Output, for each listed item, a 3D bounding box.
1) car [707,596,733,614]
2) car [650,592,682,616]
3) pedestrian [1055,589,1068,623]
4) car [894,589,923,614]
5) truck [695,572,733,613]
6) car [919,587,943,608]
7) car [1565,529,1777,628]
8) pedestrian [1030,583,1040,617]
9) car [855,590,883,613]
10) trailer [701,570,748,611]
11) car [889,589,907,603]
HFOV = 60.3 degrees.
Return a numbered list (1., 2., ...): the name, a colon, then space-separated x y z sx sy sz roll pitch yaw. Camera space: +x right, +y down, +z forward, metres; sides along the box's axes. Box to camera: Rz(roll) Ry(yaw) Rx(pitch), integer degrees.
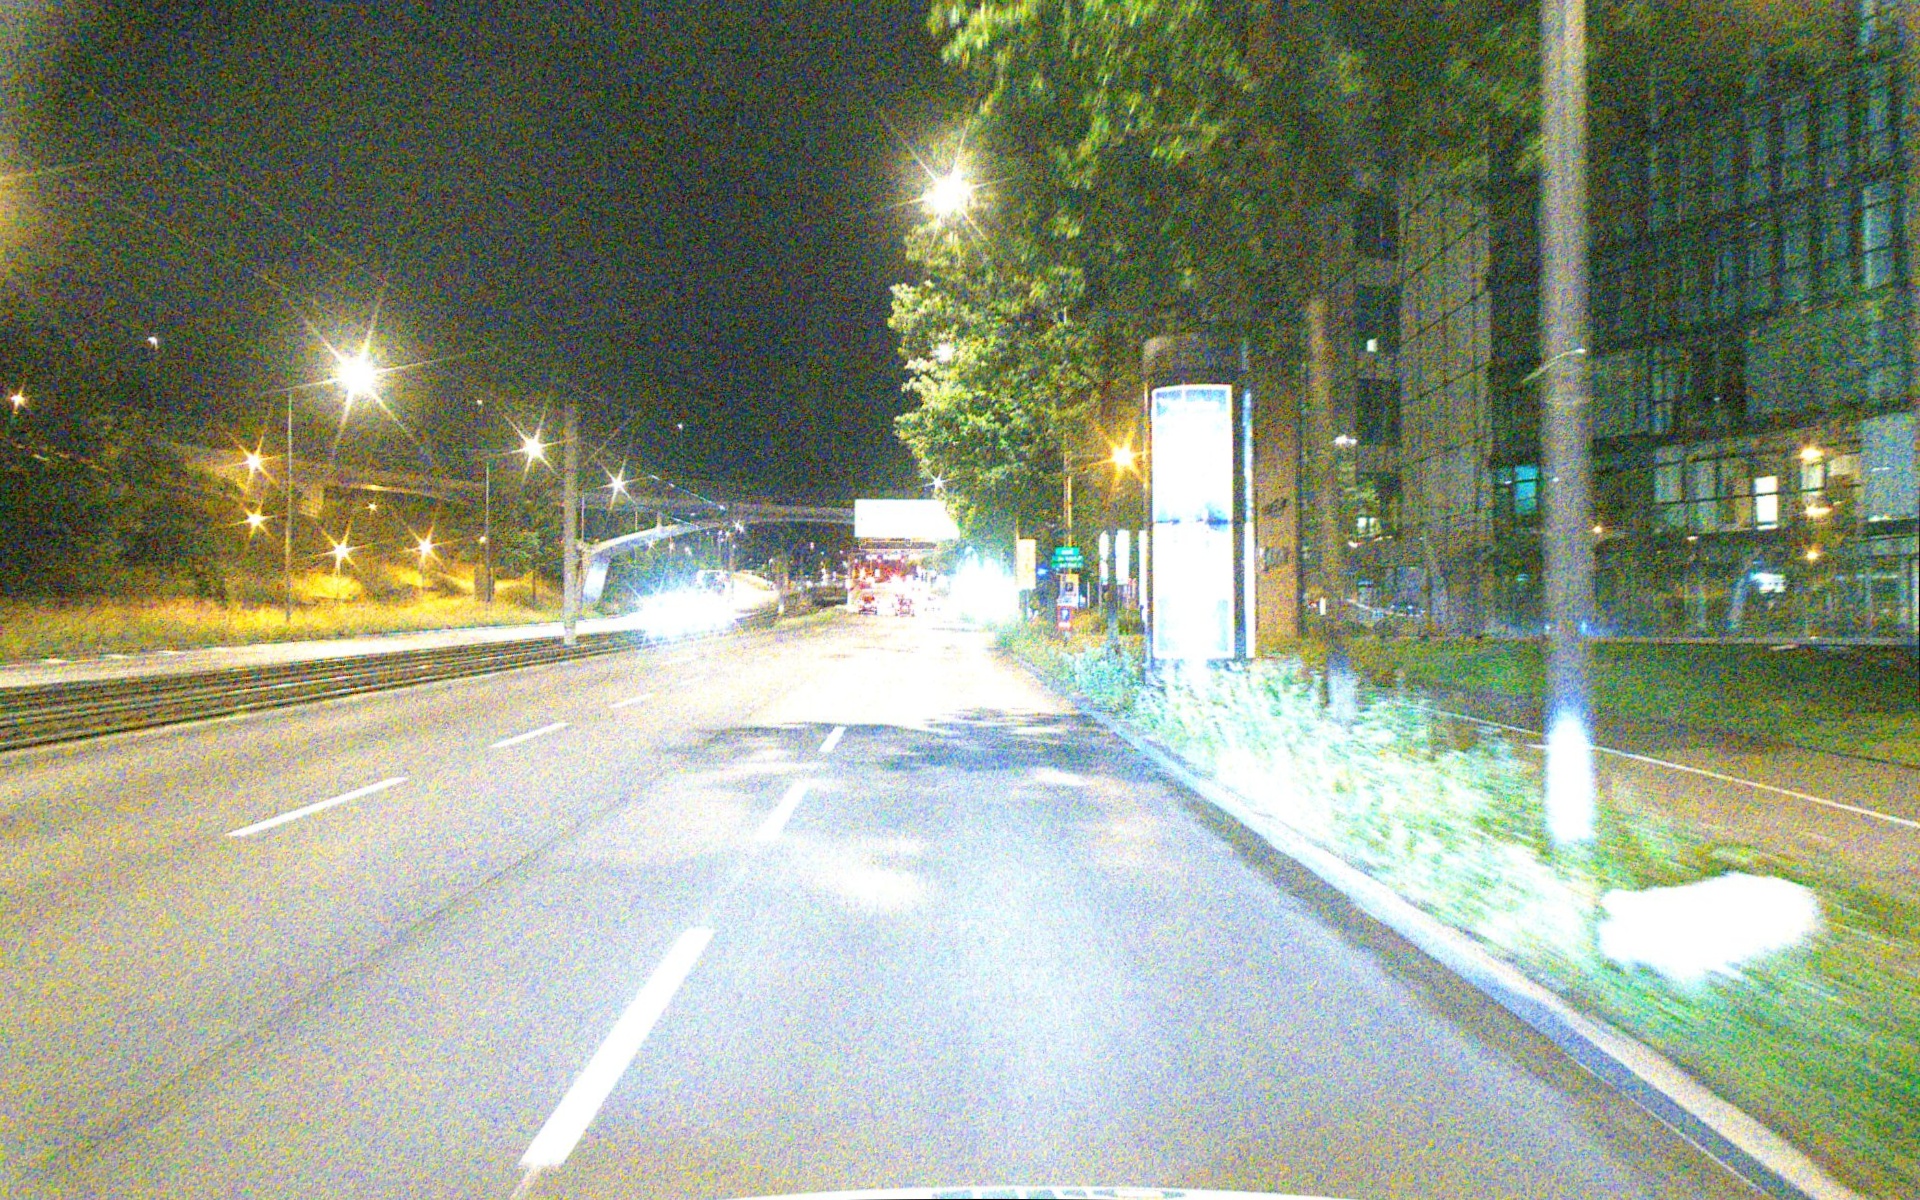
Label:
1. car: -21.342 0.434 147.442 1.872 1.499 3.770 0 1 -2
2. car: -22.148 0.290 124.702 1.826 1.781 3.700 0 1 -2
3. pedestrian: 6.399 0.375 104.621 0.746 2.099 0.643 0 1 -1
4. car: -4.706 0.129 151.210 2.307 2.166 4.827 0 1 2
5. truck: -23.771 -0.795 159.944 2.979 3.886 4.934 0 1 -1
6. car: -3.183 -0.295 181.114 2.377 2.150 4.827 1 1 2
7. car: 14.361 -0.424 33.447 3.716 1.895 1.985 0 1 -25
8. pedestrian: 5.562 0.016 122.390 0.729 2.477 0.780 1 0 2
9. car: -8.660 0.127 157.164 2.215 2.049 4.827 0 1 2
10. trailer: -23.940 -1.027 168.948 2.933 4.070 13.953 0 1 -1
11. car: -7.122 -0.419 190.598 1.953 1.580 3.999 0 0 -1
